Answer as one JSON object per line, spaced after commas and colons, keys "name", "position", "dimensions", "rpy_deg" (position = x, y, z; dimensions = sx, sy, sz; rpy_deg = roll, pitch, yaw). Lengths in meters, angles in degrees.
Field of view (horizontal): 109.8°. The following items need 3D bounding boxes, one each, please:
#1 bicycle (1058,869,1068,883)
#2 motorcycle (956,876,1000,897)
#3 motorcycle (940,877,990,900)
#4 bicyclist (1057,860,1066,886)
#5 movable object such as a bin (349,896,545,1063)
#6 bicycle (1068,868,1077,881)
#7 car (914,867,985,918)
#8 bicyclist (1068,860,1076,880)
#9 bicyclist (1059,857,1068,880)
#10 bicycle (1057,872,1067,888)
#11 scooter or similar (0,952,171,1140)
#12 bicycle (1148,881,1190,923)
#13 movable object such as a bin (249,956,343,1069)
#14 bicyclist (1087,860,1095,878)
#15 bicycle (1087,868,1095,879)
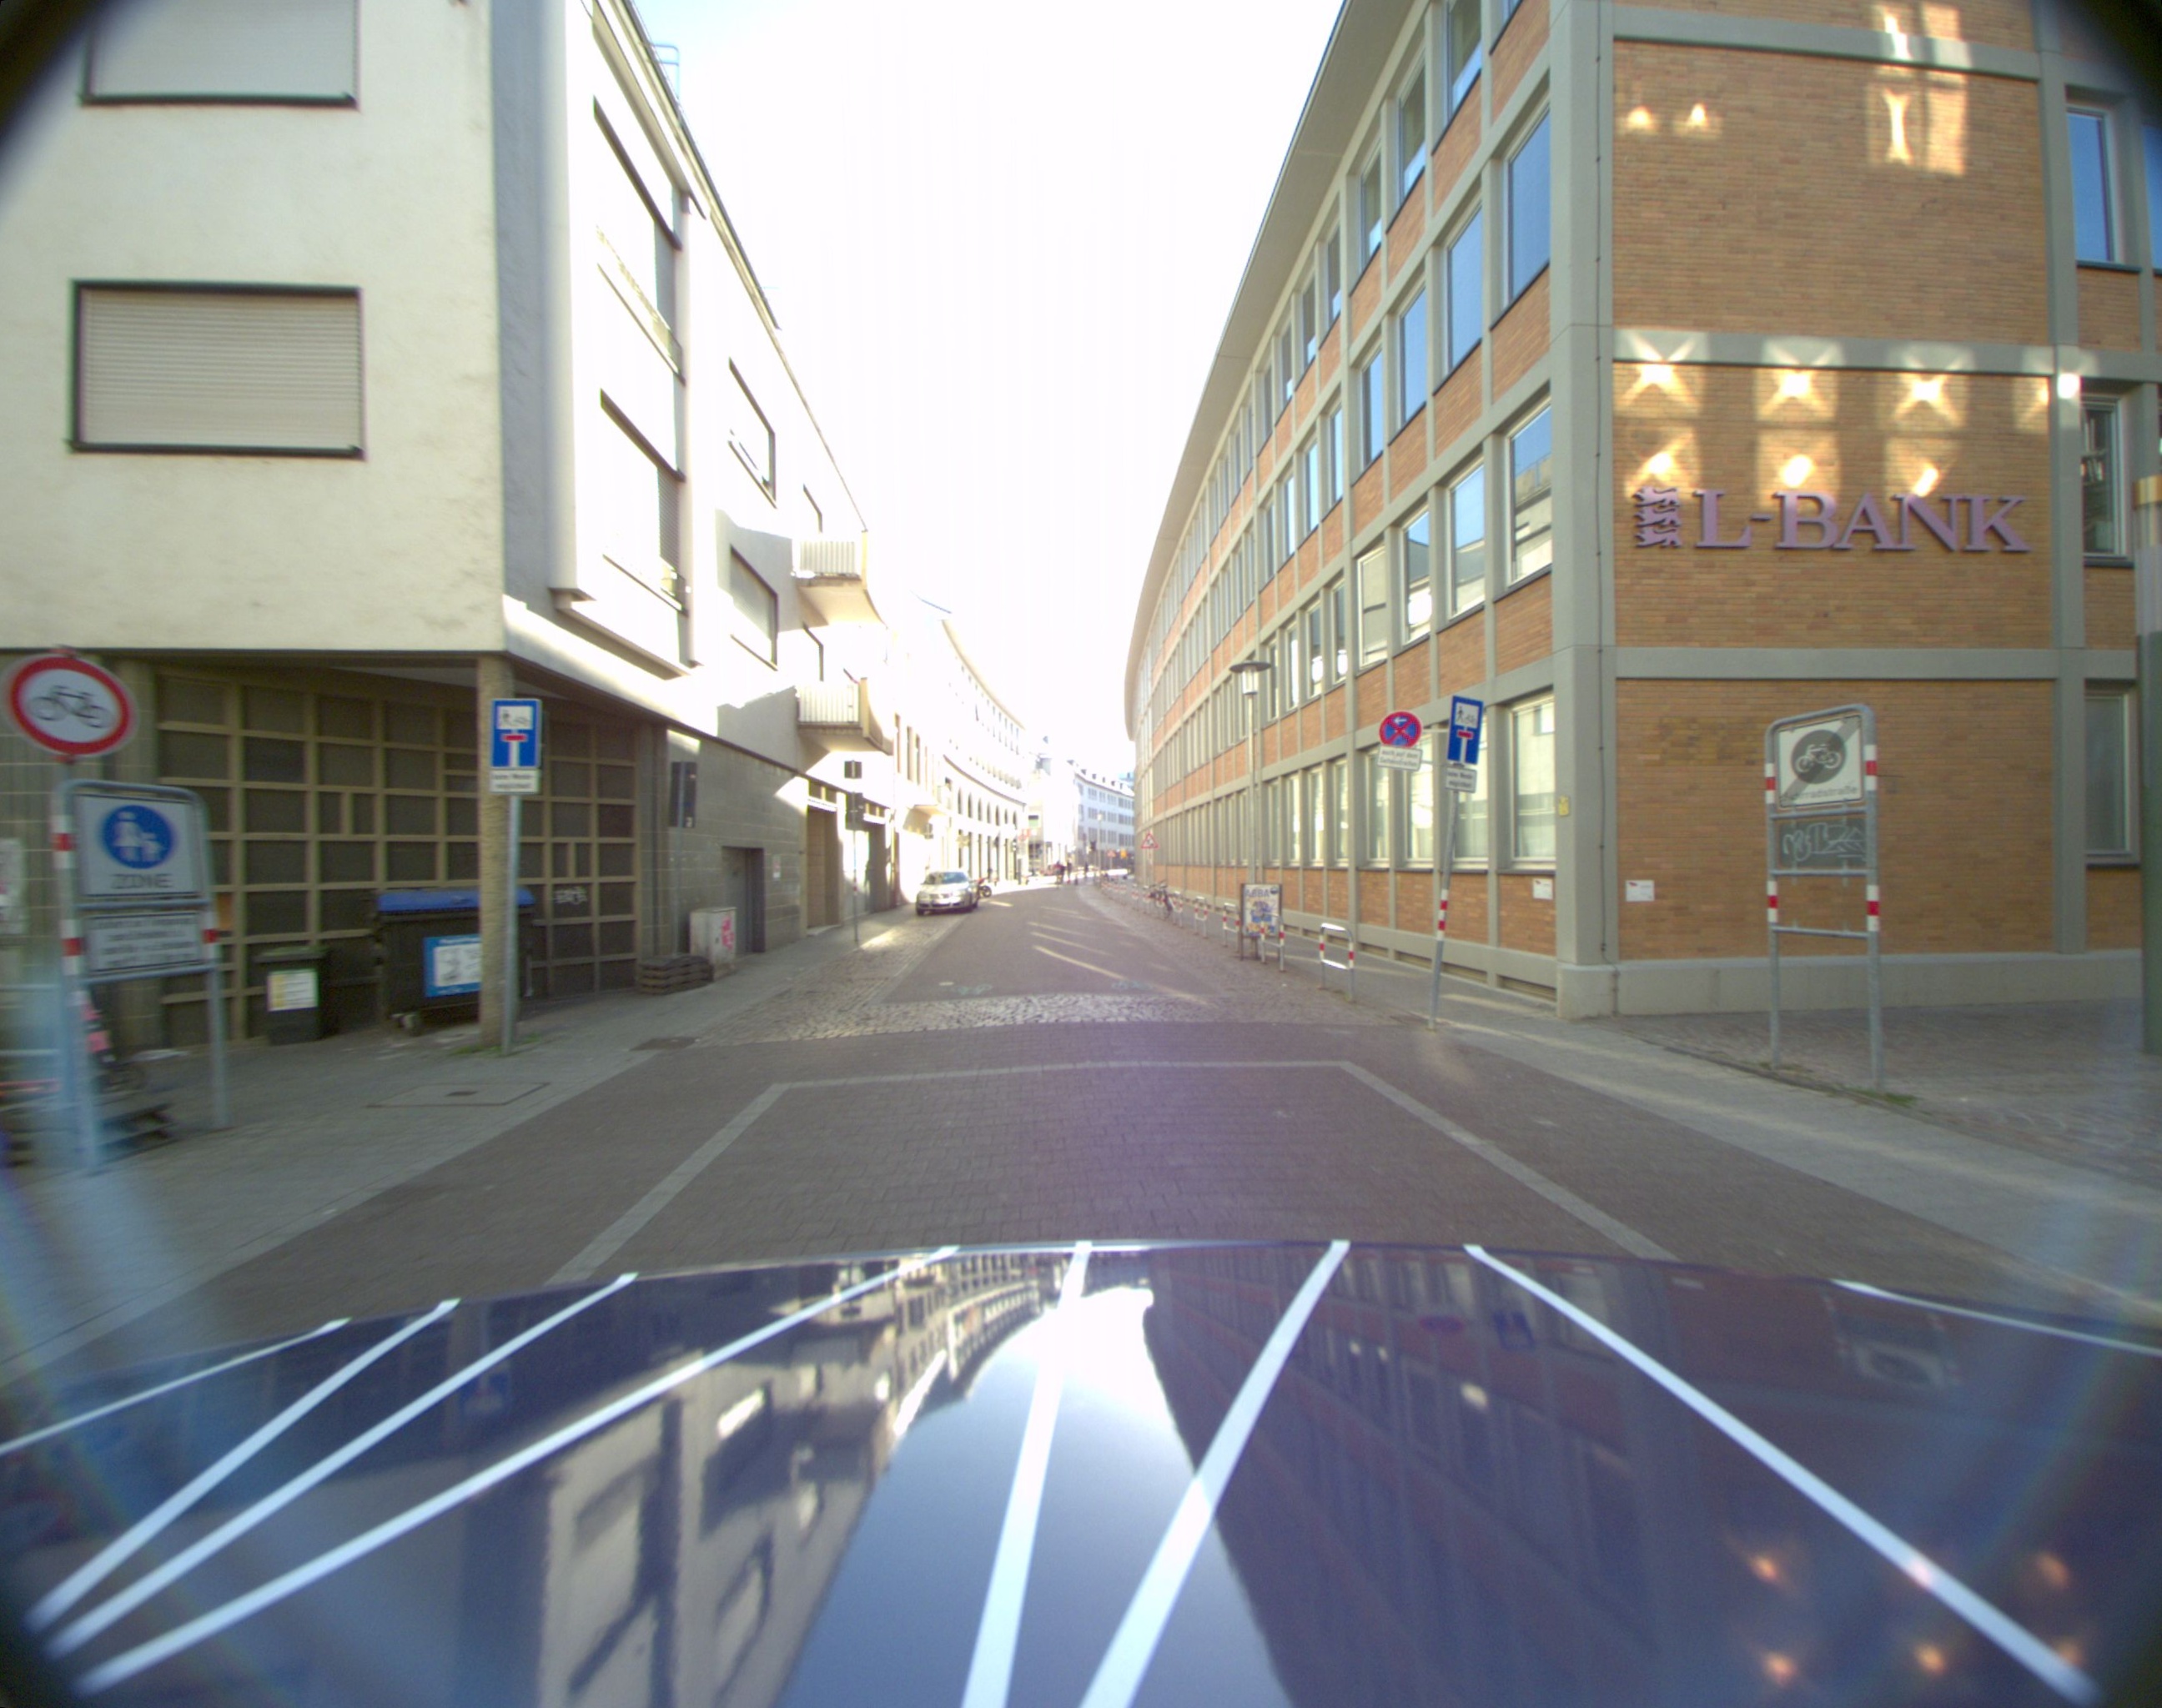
{"name": "bicycle", "position": [-1.261, 1.535, 53.321], "dimensions": [0.576, 0.955, 1.720], "rpy_deg": [-1, 0, 2]}
{"name": "motorcycle", "position": [-4.997, 1.574, 36.777], "dimensions": [1.996, 0.950, 0.645], "rpy_deg": [-1, 0, 10]}
{"name": "motorcycle", "position": [-5.023, 1.484, 32.861], "dimensions": [1.996, 0.950, 0.645], "rpy_deg": [-1, 0, 10]}
{"name": "bicyclist", "position": [-1.134, 1.125, 44.507], "dimensions": [0.472, 1.495, 0.795], "rpy_deg": [-1, 0, 0]}
{"name": "movable object such as a bin", "position": [-6.619, 1.211, 7.951], "dimensions": [1.126, 1.454, 1.438], "rpy_deg": [-1, 0, 44]}
{"name": "bicycle", "position": [-0.665, 1.569, 58.243], "dimensions": [0.576, 0.955, 1.720], "rpy_deg": [-1, 0, 2]}
{"name": "car", "position": [-4.356, 1.218, 25.675], "dimensions": [1.847, 1.453, 3.997], "rpy_deg": [-3, 0, -3]}
{"name": "bicyclist", "position": [-0.672, 1.202, 58.262], "dimensions": [0.576, 1.524, 0.816], "rpy_deg": [-1, 0, 2]}
{"name": "bicyclist", "position": [-1.245, 1.018, 53.700], "dimensions": [0.581, 1.565, 0.692], "rpy_deg": [-2, 0, 1]}
{"name": "bicycle", "position": [-1.104, 1.506, 44.483], "dimensions": [0.524, 0.843, 1.490], "rpy_deg": [-1, 0, 1]}
{"name": "scooter or similar", "position": [-7.497, 1.362, 5.473], "dimensions": [1.162, 1.216, 0.498], "rpy_deg": [-1, 0, -6]}
{"name": "bicycle", "position": [2.394, 1.296, 20.953], "dimensions": [0.628, 1.047, 1.821], "rpy_deg": [-1, 0, -10]}
{"name": "movable object such as a bin", "position": [-7.591, 1.506, 7.364], "dimensions": [0.605, 0.921, 0.598], "rpy_deg": [-1, 0, 44]}
{"name": "bicyclist", "position": [0.914, 1.328, 68.440], "dimensions": [0.581, 1.565, 0.692], "rpy_deg": [-2, 0, 3]}
{"name": "bicycle", "position": [0.936, 1.742, 68.422], "dimensions": [0.623, 0.955, 1.720], "rpy_deg": [-1, 0, 2]}
